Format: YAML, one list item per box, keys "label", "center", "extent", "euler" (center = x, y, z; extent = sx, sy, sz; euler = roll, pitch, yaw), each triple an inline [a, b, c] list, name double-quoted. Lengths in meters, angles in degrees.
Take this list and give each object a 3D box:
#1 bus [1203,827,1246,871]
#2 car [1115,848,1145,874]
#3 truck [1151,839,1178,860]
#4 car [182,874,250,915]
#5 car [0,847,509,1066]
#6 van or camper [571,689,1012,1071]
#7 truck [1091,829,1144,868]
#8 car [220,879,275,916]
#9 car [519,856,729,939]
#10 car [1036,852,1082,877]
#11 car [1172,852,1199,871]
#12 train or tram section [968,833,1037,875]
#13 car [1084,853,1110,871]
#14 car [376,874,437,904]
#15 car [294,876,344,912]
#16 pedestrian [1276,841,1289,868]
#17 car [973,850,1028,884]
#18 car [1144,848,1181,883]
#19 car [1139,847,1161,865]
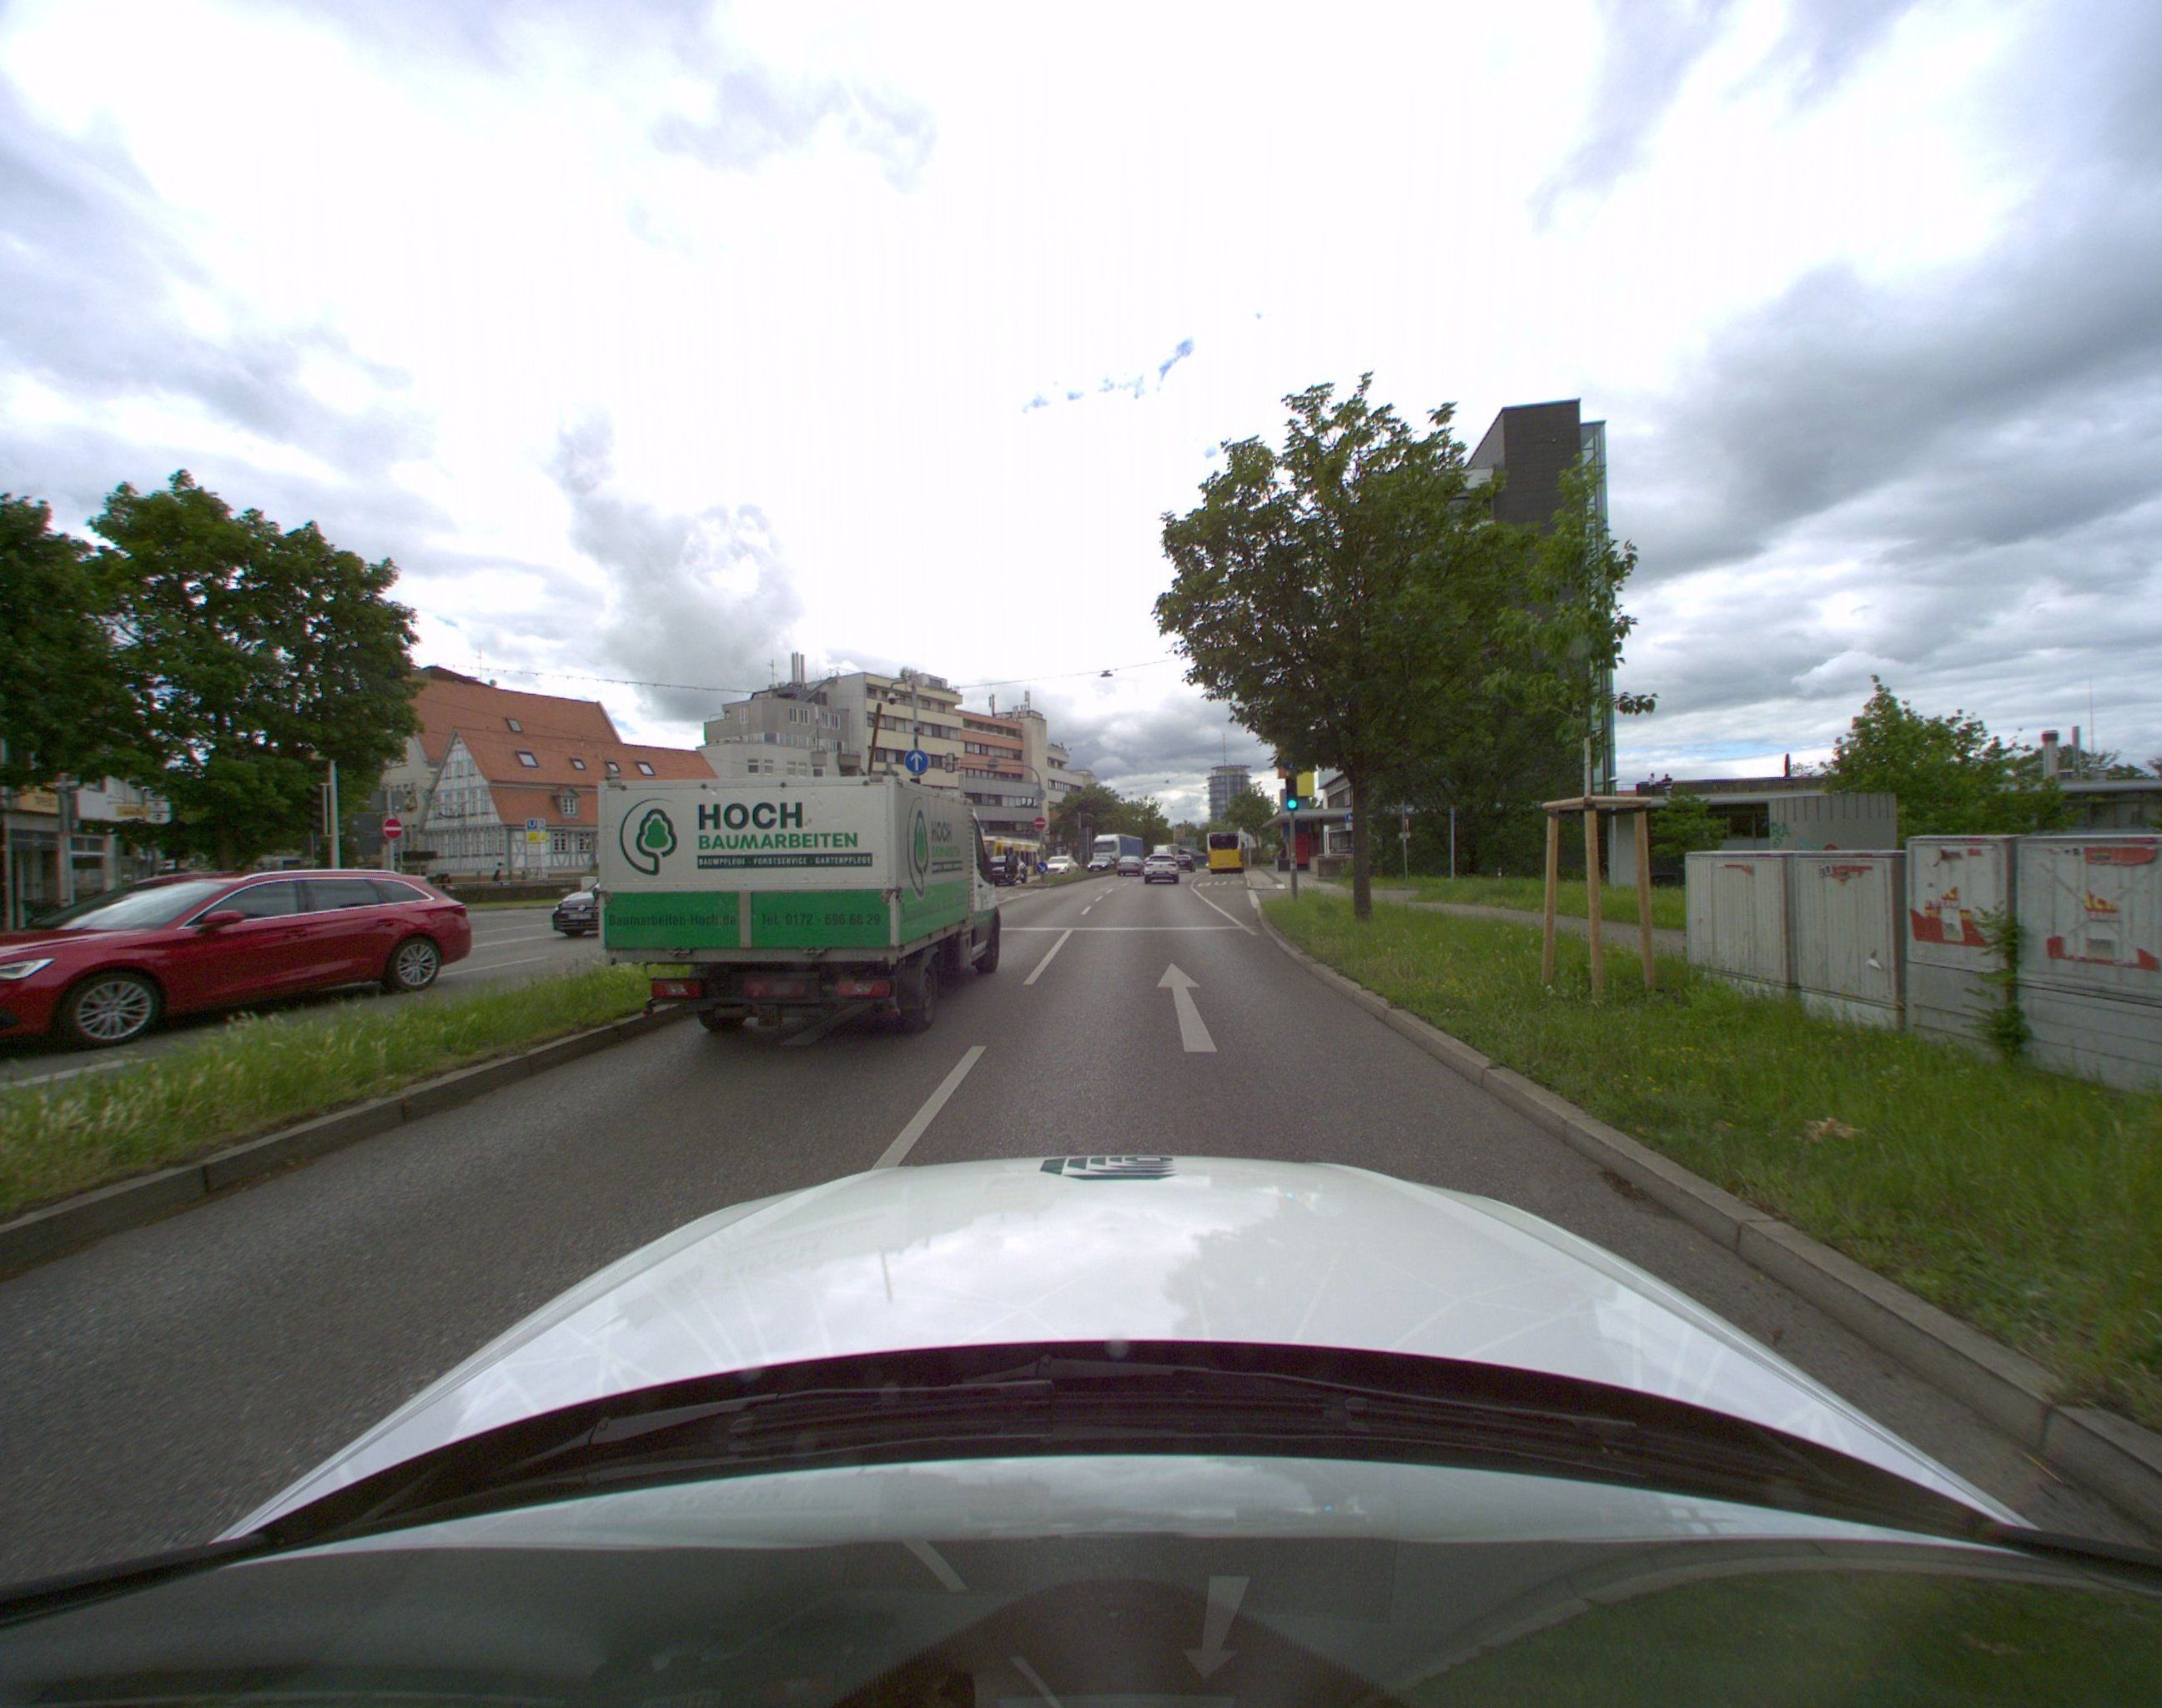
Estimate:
- label: "bus"
  center: [11.639, -0.436, 65.178]
  extent: [2.934, 3.190, 9.963]
  euler: [-1, 1, 12]
- label: "car"
  center: [3.493, 0.482, 57.686]
  extent: [1.689, 1.515, 3.748]
  euler: [-1, 4, 10]
- label: "truck"
  center: [12.503, -0.724, 121.695]
  extent: [3.063, 3.028, 9.387]
  euler: [-1, 0, 11]
- label: "car"
  center: [-49.900, 2.270, 46.961]
  extent: [4.350, 2.062, 2.261]
  euler: [0, 2, 38]
- label: "car"
  center: [-8.823, 0.783, 8.416]
  extent: [1.983, 1.590, 4.843]
  euler: [-2, 1, 6]
- label: "van or camper"
  center: [-2.275, 0.114, 8.675]
  extent: [2.334, 2.661, 5.969]
  euler: [0, 1, 2]
- label: "truck"
  center: [4.496, -0.695, 94.075]
  extent: [2.933, 4.079, 16.664]
  euler: [-1, 1, 14]
- label: "car"
  center: [-43.486, 2.224, 42.536]
  extent: [1.863, 1.584, 3.563]
  euler: [-3, 3, -44]
- label: "car"
  center: [-10.031, 0.874, 18.364]
  extent: [1.985, 1.500, 4.399]
  euler: [-2, 1, 4]
- label: "car"
  center: [-1.429, 0.672, 55.039]
  extent: [1.952, 1.498, 4.793]
  euler: [-1, 1, 13]
- label: "car"
  center: [9.186, 0.670, 71.296]
  extent: [1.686, 1.515, 3.510]
  euler: [0, 2, 18]
- label: "train or tram section"
  center: [-7.001, -0.037, 75.269]
  extent: [2.543, 3.410, 13.123]
  euler: [-2, 0, 11]
- label: "car"
  center: [1.367, 0.671, 69.698]
  extent: [1.689, 1.516, 3.503]
  euler: [-1, 0, 10]
- label: "car"
  center: [-40.627, 2.093, 49.064]
  extent: [3.948, 1.684, 2.013]
  euler: [-2, 0, 38]
- label: "car"
  center: [-41.552, 2.132, 44.395]
  extent: [1.863, 1.584, 3.563]
  euler: [-3, 4, -44]
- label: "pedestrian"
  center: [14.100, 0.042, 57.111]
  extent: [0.707, 1.816, 0.764]
  euler: [-1, 0, 2]
- label: "car"
  center: [-4.117, 0.673, 42.110]
  extent: [1.888, 1.618, 4.283]
  euler: [-2, -1, 7]
- label: "car"
  center: [4.445, 0.592, 44.114]
  extent: [1.689, 1.547, 3.747]
  euler: [2, 4, 9]
- label: "car"
  center: [8.074, 0.235, 94.715]
  extent: [1.981, 2.013, 5.212]
  euler: [-1, 0, 11]
